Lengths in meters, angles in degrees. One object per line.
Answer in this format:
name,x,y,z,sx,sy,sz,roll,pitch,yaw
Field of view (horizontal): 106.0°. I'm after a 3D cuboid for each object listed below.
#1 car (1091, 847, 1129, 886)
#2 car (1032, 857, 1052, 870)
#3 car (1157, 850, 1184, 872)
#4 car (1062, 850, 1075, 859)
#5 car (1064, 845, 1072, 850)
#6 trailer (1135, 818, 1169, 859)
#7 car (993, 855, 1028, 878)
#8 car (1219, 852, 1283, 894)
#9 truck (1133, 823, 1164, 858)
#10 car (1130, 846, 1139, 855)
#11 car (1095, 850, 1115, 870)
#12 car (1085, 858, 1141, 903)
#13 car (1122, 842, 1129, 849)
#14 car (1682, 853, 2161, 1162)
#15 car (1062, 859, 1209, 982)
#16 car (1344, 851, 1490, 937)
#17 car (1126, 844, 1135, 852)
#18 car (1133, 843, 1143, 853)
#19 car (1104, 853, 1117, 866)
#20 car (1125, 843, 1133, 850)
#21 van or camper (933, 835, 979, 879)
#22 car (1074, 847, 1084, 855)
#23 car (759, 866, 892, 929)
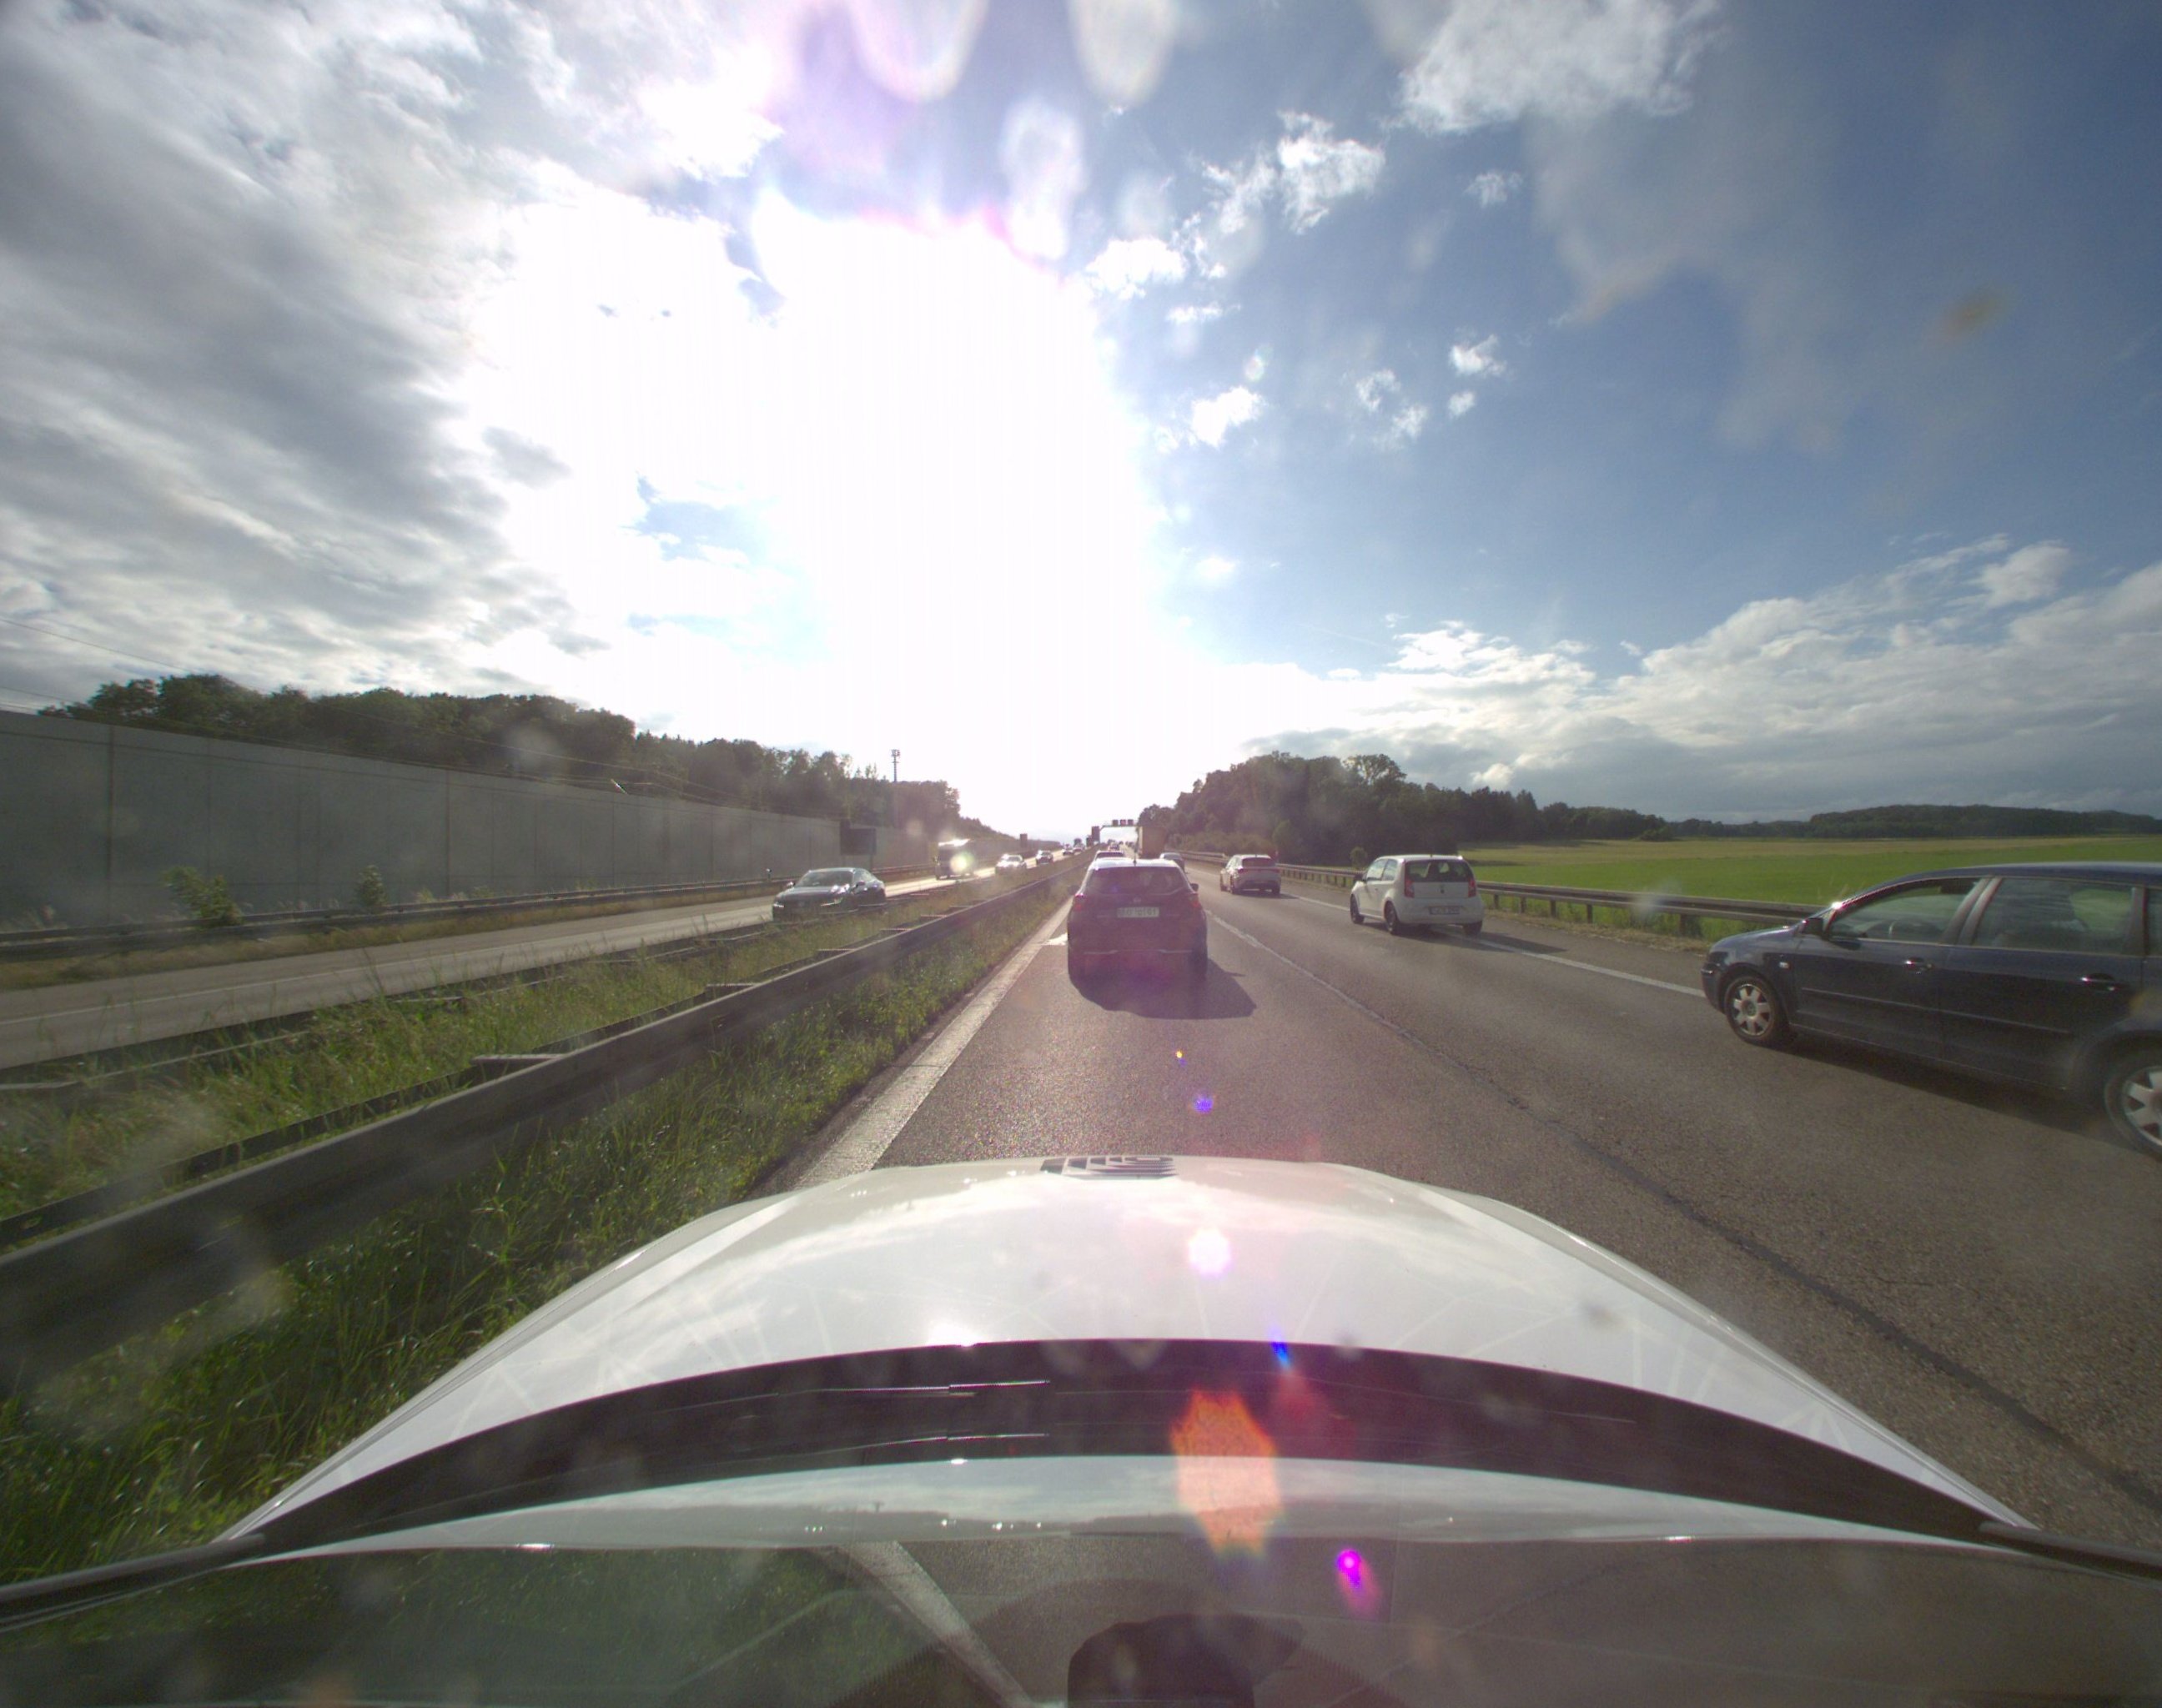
car,1.376,0.573,37.976,1.667,1.726,3.599,-1,-1,3
car,-4.477,1.074,93.988,1.846,1.433,4.450,0,-1,2
car,6.238,0.524,57.111,1.739,1.475,4.150,-1,-1,3
car,-2.185,0.088,141.702,1.986,1.433,4.450,0,-1,2
car,-3.368,-1.670,211.493,1.986,1.433,4.450,0,-1,2
trailer,8.424,-1.714,98.309,3.535,4.457,12.727,0,-1,2
car,-5.088,0.881,59.230,1.986,1.593,4.450,0,-1,2
car,6.289,0.703,30.475,1.615,1.445,4.147,0,-1,1
truck,8.675,-1.652,104.958,3.568,4.380,6.690,0,-1,2
car,12.025,-0.801,182.515,1.986,2.014,4.001,0,-1,2
car,2.538,0.606,85.200,1.986,2.014,4.001,0,-1,2
car,1.087,0.821,26.374,1.667,1.367,3.599,-1,-1,3
car,13.933,-2.595,253.440,1.986,2.014,4.001,0,-1,2
car,5.936,0.727,5.050,1.704,1.445,3.775,0,-1,2
car,0.752,0.801,11.212,1.702,1.426,3.381,-1,-1,4
car,6.443,0.700,15.988,1.543,1.495,3.378,0,0,1
car,12.487,-1.583,205.887,1.986,2.014,4.001,0,-1,2
car,10.402,-1.028,148.797,1.659,1.755,3.330,0,-1,4
car,4.698,0.850,129.755,1.986,2.014,4.001,0,-1,2
car,13.050,-2.017,222.704,1.986,2.014,4.001,0,-1,2
van or camper,-9.318,0.251,61.321,2.217,3.079,6.515,0,-1,2
car,-0.331,-0.605,170.713,1.986,1.433,4.450,0,-1,2
car,-6.541,1.060,21.424,1.986,1.433,4.450,0,-1,2
